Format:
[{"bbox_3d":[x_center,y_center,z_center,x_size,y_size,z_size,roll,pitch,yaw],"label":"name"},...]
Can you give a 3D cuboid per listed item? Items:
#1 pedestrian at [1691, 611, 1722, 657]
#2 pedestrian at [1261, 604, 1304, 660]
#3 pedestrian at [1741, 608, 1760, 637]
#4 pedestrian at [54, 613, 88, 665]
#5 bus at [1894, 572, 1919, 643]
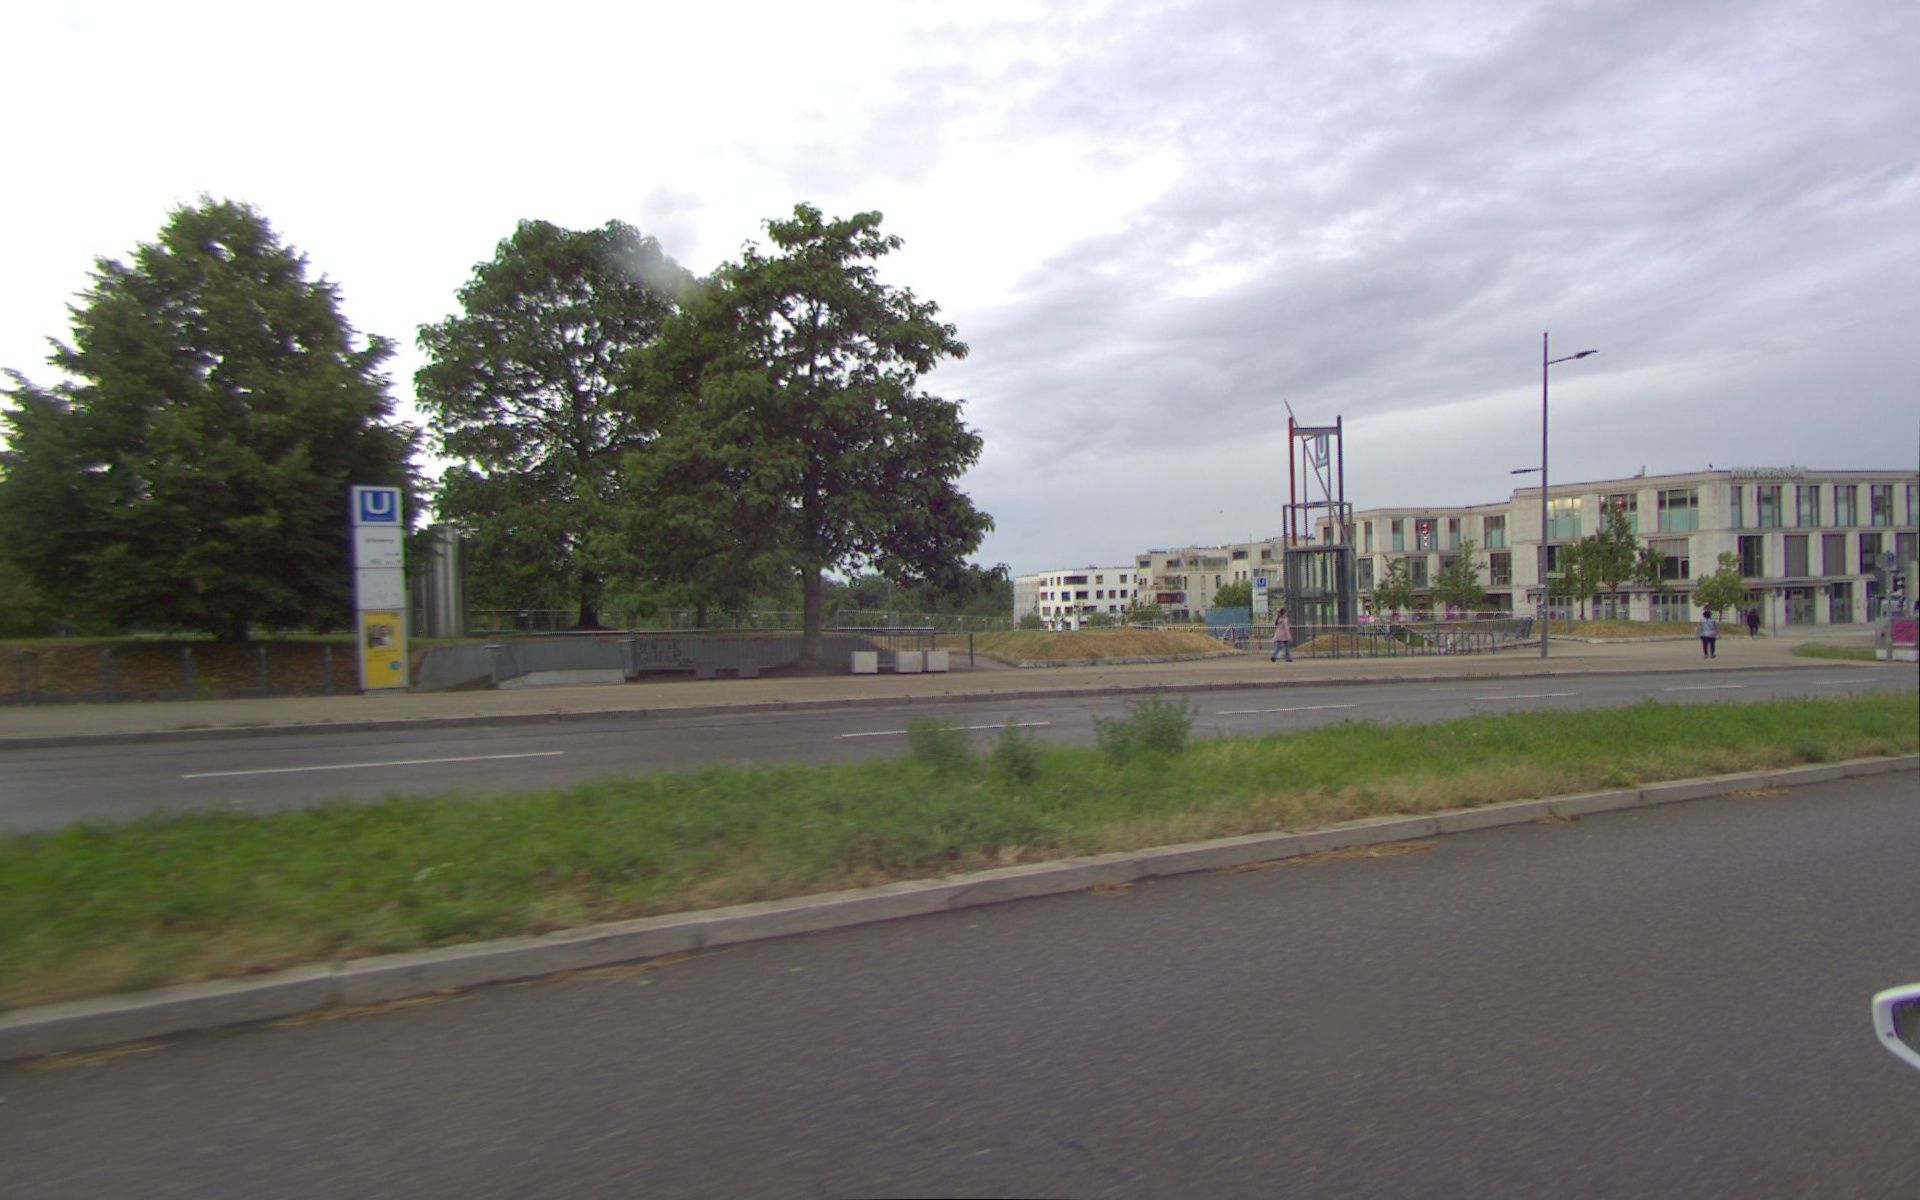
[{"bbox_3d":[26.832,1.222,36.104,0.825,1.594,0.715,1,-1,43],"label":"pedestrian"},{"bbox_3d":[9.664,0.967,30.130,0.924,1.642,0.809,2,-1,-31],"label":"pedestrian"},{"bbox_3d":[42.889,1.201,54.503,0.714,1.544,0.676,2,-1,-41],"label":"pedestrian"},{"bbox_3d":[-30.461,1.345,34.428,0.639,1.751,0.751,2,-1,-25],"label":"pedestrian"},{"bbox_3d":[54.922,0.657,50.572,17.928,3.401,2.785,2,-1,-16],"label":"bus"}]
